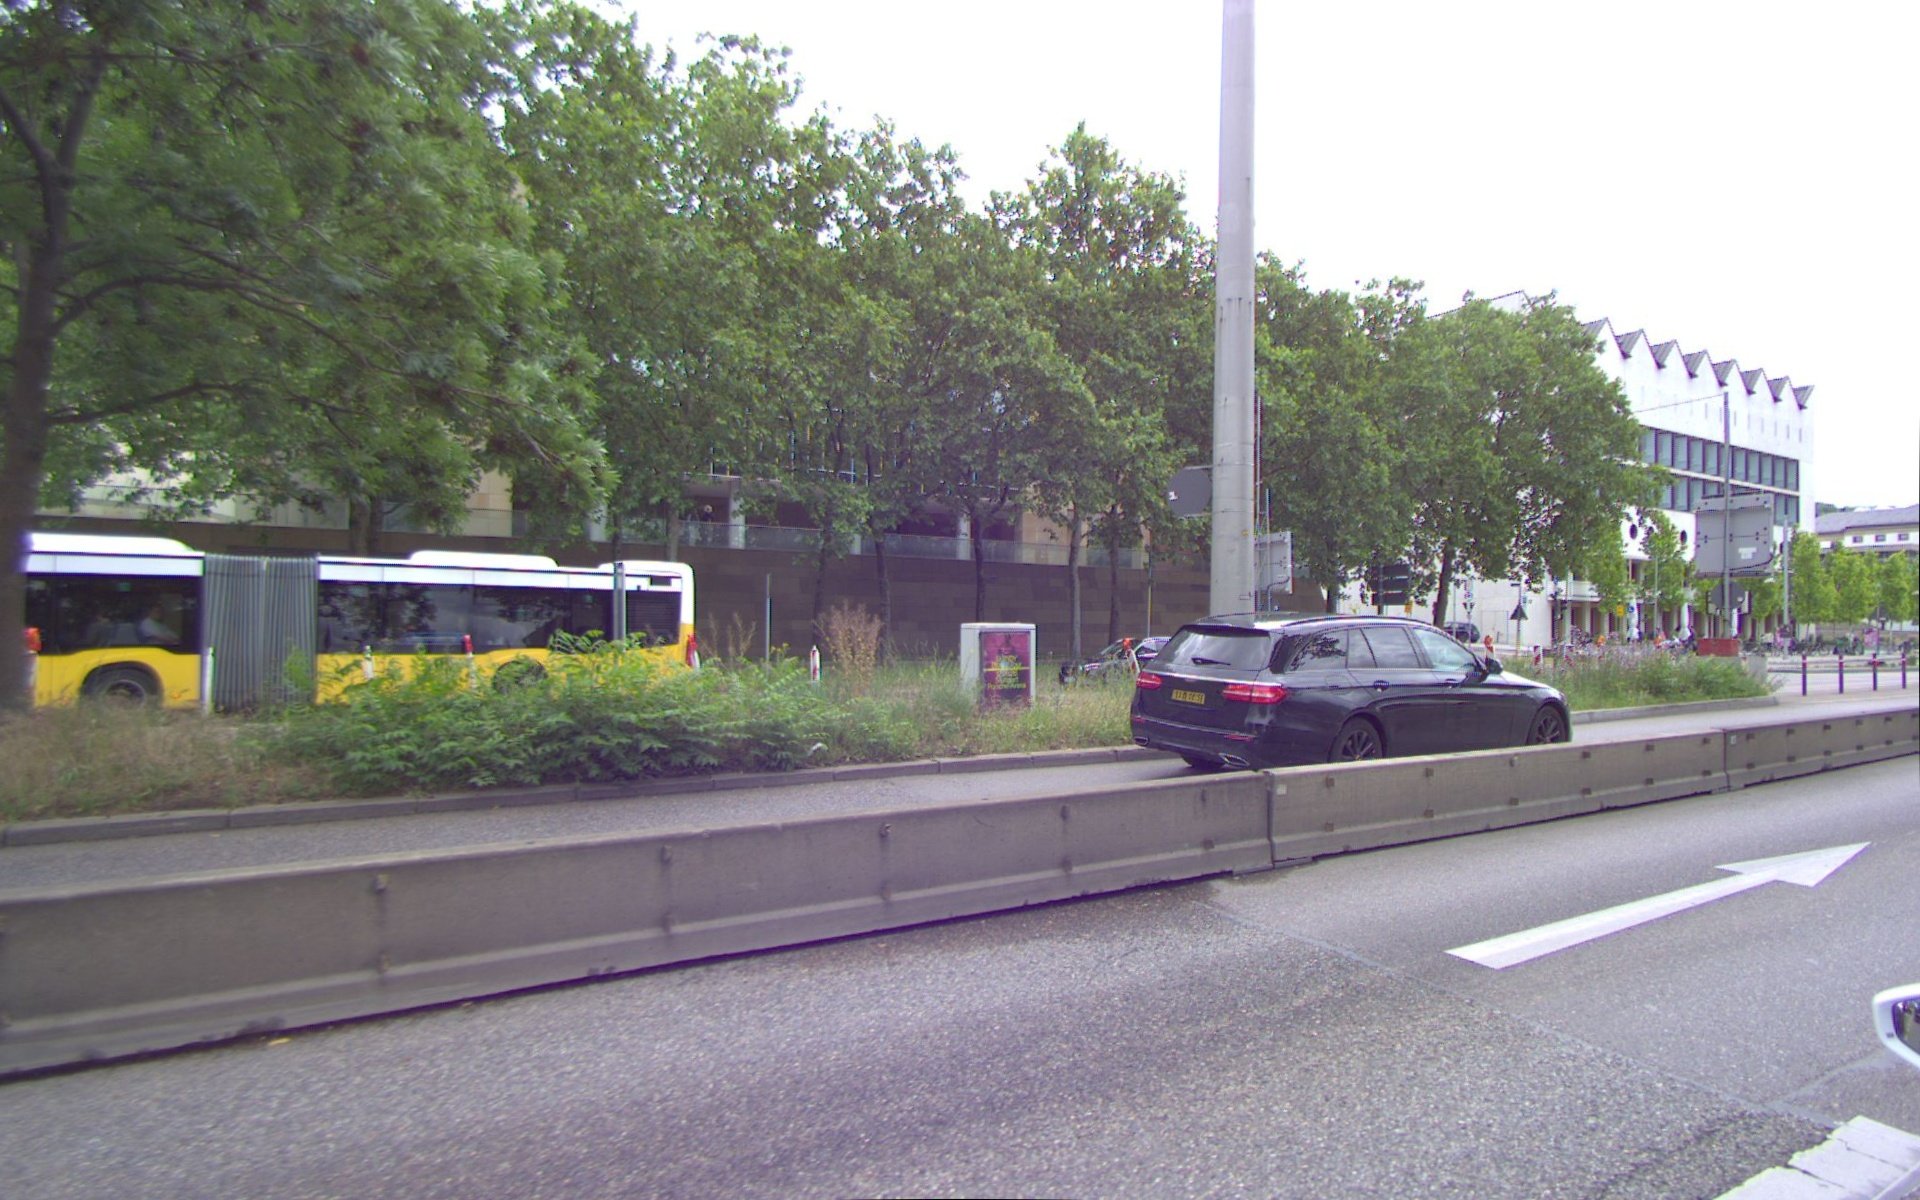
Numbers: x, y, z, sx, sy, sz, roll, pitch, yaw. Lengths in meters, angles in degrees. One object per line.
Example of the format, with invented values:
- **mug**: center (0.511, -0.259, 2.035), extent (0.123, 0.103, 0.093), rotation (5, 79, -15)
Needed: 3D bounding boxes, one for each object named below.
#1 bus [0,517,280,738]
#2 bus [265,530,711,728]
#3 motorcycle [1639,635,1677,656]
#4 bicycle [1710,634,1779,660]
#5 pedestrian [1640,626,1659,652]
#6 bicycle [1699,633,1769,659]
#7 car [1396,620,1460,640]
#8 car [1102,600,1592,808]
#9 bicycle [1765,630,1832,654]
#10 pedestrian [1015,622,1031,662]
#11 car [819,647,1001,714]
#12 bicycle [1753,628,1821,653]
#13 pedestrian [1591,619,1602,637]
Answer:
- **bus**: center (-16.897, 0.388, 15.533), extent (10.331, 3.348, 2.897), rotation (2, -2, -31)
- **bus**: center (-9.202, 0.604, 20.241), extent (7.618, 3.347, 2.908), rotation (2, -2, -31)
- **motorcycle**: center (42.269, 2.751, 60.854), extent (1.859, 1.249, 0.657), rotation (0, -4, 36)
- **bicycle**: center (54.366, 3.256, 69.665), extent (1.169, 1.706, 3.595), rotation (1, -2, -31)
- **pedestrian**: center (43.545, 2.469, 63.456), extent (0.865, 1.577, 0.598), rotation (0, -1, 18)
- **bicycle**: center (52.459, 3.093, 68.164), extent (1.169, 1.706, 3.595), rotation (1, -2, -31)
- **car**: center (33.793, 2.167, 72.617), extent (1.731, 1.293, 3.968), rotation (2, -1, -30)
- **car**: center (3.774, 0.846, 9.445), extent (4.811, 1.479, 1.801), rotation (2, 0, -33)
- **bicycle**: center (61.205, 3.049, 73.347), extent (1.173, 1.706, 3.583), rotation (1, -2, -40)
- **pedestrian**: center (2.582, 1.724, 41.167), extent (0.440, 1.629, 0.351), rotation (2, 1, -36)
- **car**: center (-1.157, 1.837, 23.661), extent (3.952, 1.390, 1.718), rotation (1, -2, -30)
- **bicycle**: center (59.385, 2.899, 72.162), extent (1.173, 1.706, 3.583), rotation (1, -2, -40)
- **pedestrian**: center (48.377, 2.147, 76.311), extent (0.558, 1.344, 0.516), rotation (3, -3, -30)
